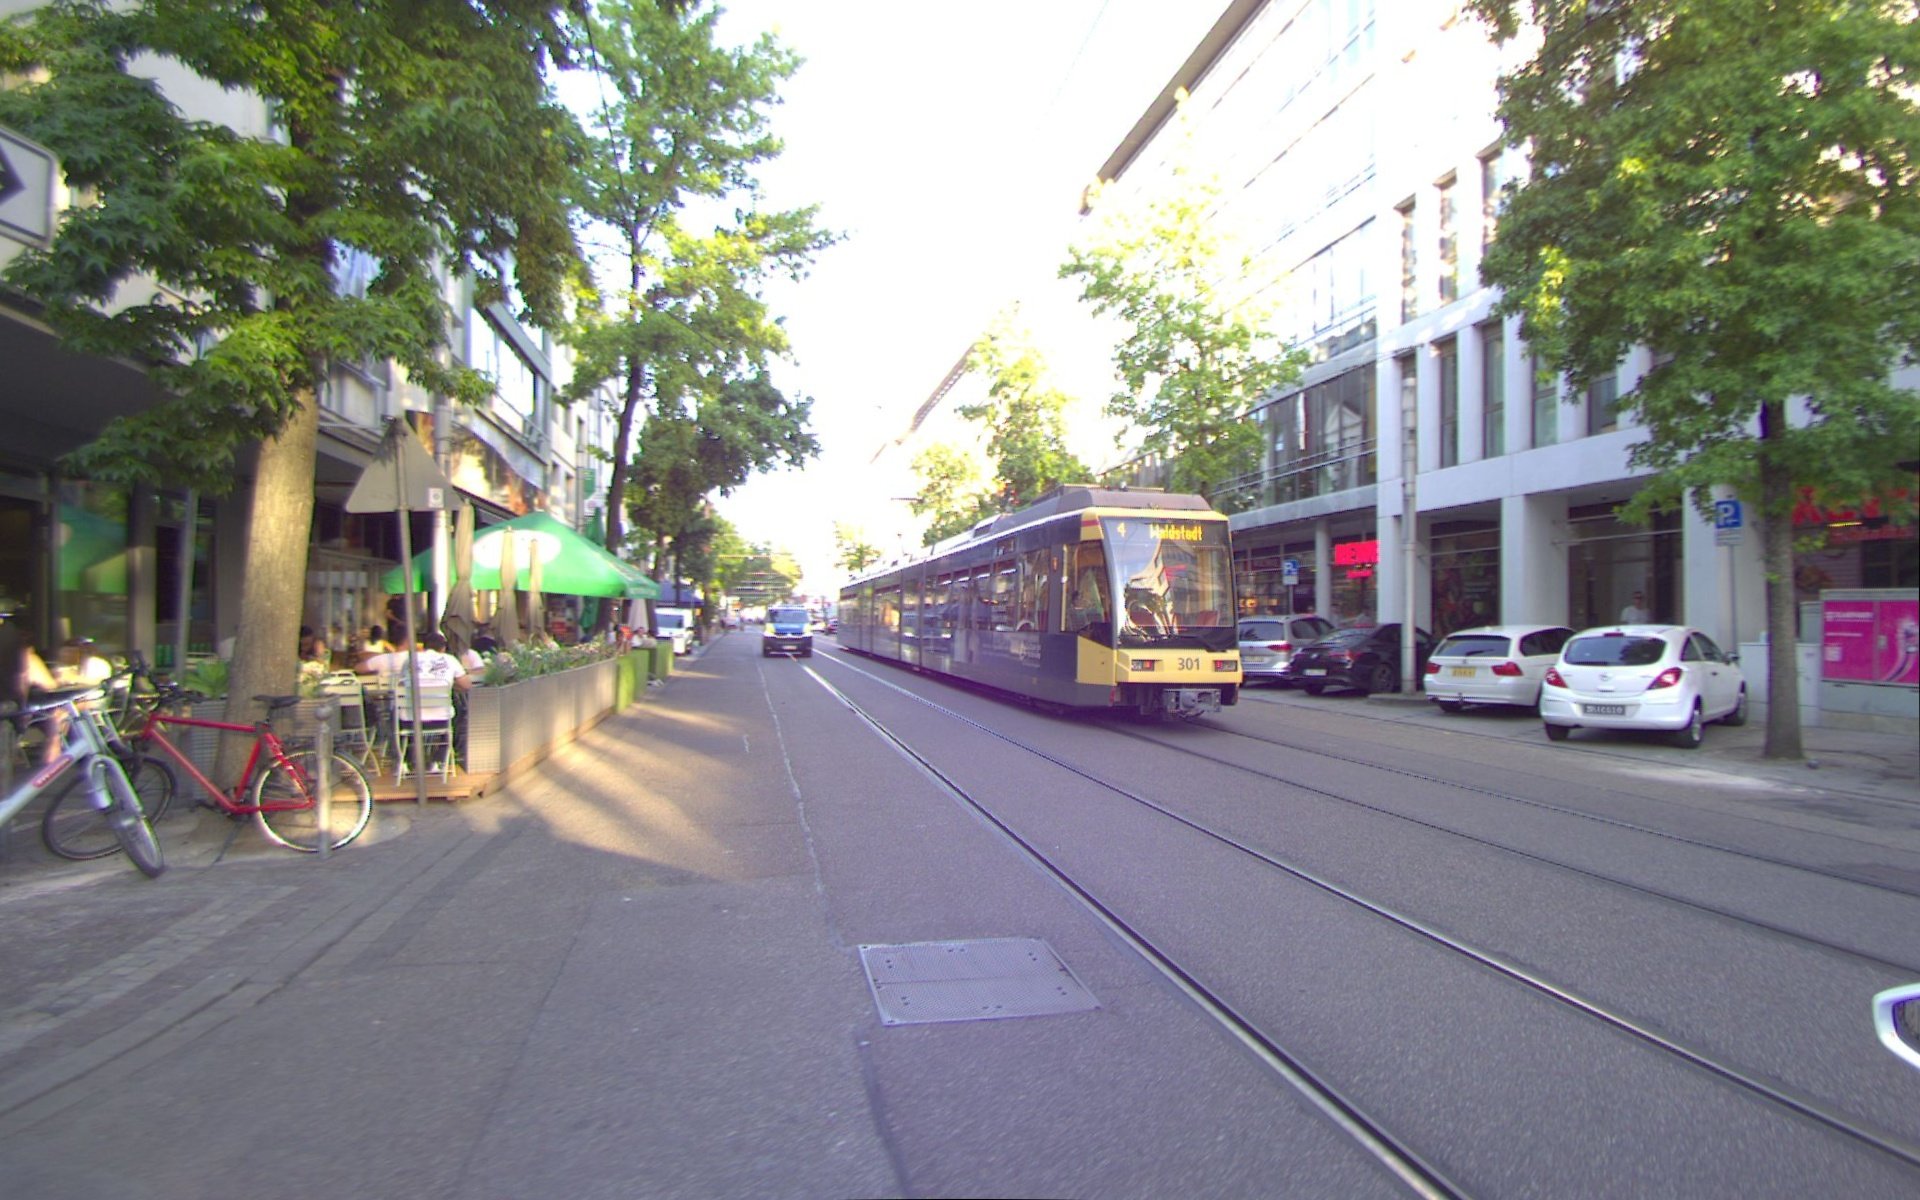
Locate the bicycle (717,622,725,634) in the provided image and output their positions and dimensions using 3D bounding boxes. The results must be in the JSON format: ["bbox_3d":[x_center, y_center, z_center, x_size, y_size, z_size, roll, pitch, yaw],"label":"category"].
[{"bbox_3d":[-22.844,2.657,95.962,0.604,1.141,2.243,3,-3,-18],"label":"bicycle"}]

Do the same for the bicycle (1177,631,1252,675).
[{"bbox_3d":[6.727,1.386,26.611,1.852,1.090,0.627,-1,1,42],"label":"bicycle"}]

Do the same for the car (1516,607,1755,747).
[{"bbox_3d":[9.378,0.949,13.823,4.037,1.521,1.774,-2,-1,-42],"label":"car"}]

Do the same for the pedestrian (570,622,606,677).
[{"bbox_3d":[-8.817,1.165,23.798,0.698,1.281,0.599,1,-2,-12],"label":"pedestrian"}]

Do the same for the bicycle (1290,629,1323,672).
[{"bbox_3d":[9.680,1.397,28.101,0.562,1.097,1.884,-2,-1,10],"label":"bicycle"}]

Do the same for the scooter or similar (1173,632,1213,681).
[{"bbox_3d":[5.959,1.418,25.651,0.570,1.165,1.398,-1,0,31],"label":"scooter or similar"}]

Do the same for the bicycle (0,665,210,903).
[{"bbox_3d":[-5.104,0.938,5.233,1.852,1.154,0.771,2,-2,-41],"label":"bicycle"}]

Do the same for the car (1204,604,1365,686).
[{"bbox_3d":[7.831,1.011,23.952,1.927,1.661,4.650,-3,-1,41],"label":"car"}]

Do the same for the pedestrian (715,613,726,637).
[{"bbox_3d":[-19.870,2.076,83.267,0.741,1.904,0.574,3,-2,-17],"label":"pedestrian"}]

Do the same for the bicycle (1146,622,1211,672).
[{"bbox_3d":[6.235,1.321,28.618,1.812,1.291,0.675,-2,1,-32],"label":"bicycle"}]

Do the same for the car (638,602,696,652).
[{"bbox_3d":[-11.657,1.084,40.192,1.768,1.842,4.507,2,-2,-11],"label":"car"}]

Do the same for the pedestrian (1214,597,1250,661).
[{"bbox_3d":[7.941,0.836,29.333,0.870,1.837,0.937,-2,0,22],"label":"pedestrian"}]

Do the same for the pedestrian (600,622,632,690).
[{"bbox_3d":[-7.125,1.157,20.839,0.539,1.396,0.563,1,-2,-12],"label":"pedestrian"}]

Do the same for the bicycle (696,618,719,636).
[{"bbox_3d":[-21.606,2.308,85.904,1.779,1.377,0.656,4,-3,-25],"label":"bicycle"}]

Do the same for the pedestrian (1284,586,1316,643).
[{"bbox_3d":[9.683,0.418,28.614,0.747,1.593,0.632,-1,-1,10],"label":"pedestrian"}]

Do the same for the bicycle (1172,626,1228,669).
[{"bbox_3d":[7.054,1.374,29.551,1.674,1.165,0.498,-2,1,-28],"label":"bicycle"}]

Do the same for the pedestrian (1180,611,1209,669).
[{"bbox_3d":[6.789,1.164,29.077,0.692,1.646,0.659,-2,0,22],"label":"pedestrian"}]

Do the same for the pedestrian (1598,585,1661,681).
[{"bbox_3d":[12.899,0.624,19.367,0.668,1.795,0.806,1,0,3],"label":"pedestrian"}]

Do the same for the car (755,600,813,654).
[{"bbox_3d":[-7.027,1.052,39.814,1.966,2.003,4.837,0,-1,-14],"label":"car"}]

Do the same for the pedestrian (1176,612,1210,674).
[{"bbox_3d":[6.307,1.152,27.243,0.776,1.647,0.770,-2,0,6],"label":"pedestrian"}]

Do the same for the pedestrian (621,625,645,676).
[{"bbox_3d":[-9.011,1.390,27.692,0.571,1.396,0.563,1,-2,-12],"label":"pedestrian"}]

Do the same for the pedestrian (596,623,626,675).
[{"bbox_3d":[-9.264,1.297,26.666,0.635,1.363,0.729,1,-2,-11],"label":"pedestrian"}]

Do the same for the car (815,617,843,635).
[{"bbox_3d":[-11.828,2.328,90.482,1.881,1.570,3.988,-1,-1,-15],"label":"car"}]

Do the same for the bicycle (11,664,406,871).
[{"bbox_3d":[-4.569,0.984,6.260,1.836,1.154,0.625,1,-2,-16],"label":"bicycle"}]

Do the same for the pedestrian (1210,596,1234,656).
[{"bbox_3d":[8.187,0.793,31.386,0.647,1.837,0.717,-2,0,17],"label":"pedestrian"}]

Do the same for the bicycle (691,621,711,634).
[{"bbox_3d":[-23.128,2.462,89.712,1.711,1.141,0.561,3,-2,-17],"label":"bicycle"}]

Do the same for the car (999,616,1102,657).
[{"bbox_3d":[3.866,1.520,42.528,4.144,1.477,1.845,-3,0,-36],"label":"car"}]

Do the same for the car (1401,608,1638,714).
[{"bbox_3d":[9.635,0.967,17.202,4.305,1.441,1.811,-2,0,-35],"label":"car"}]

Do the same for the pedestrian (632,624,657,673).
[{"bbox_3d":[-8.425,1.286,26.820,0.543,1.283,0.640,1,-2,-12],"label":"pedestrian"}]

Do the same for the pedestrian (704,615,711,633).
[{"bbox_3d":[-24.316,2.339,96.729,0.567,1.709,0.550,3,-2,-23],"label":"pedestrian"}]

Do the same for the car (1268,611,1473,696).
[{"bbox_3d":[8.681,1.070,21.118,4.305,1.441,1.937,-2,-1,-35],"label":"car"}]
